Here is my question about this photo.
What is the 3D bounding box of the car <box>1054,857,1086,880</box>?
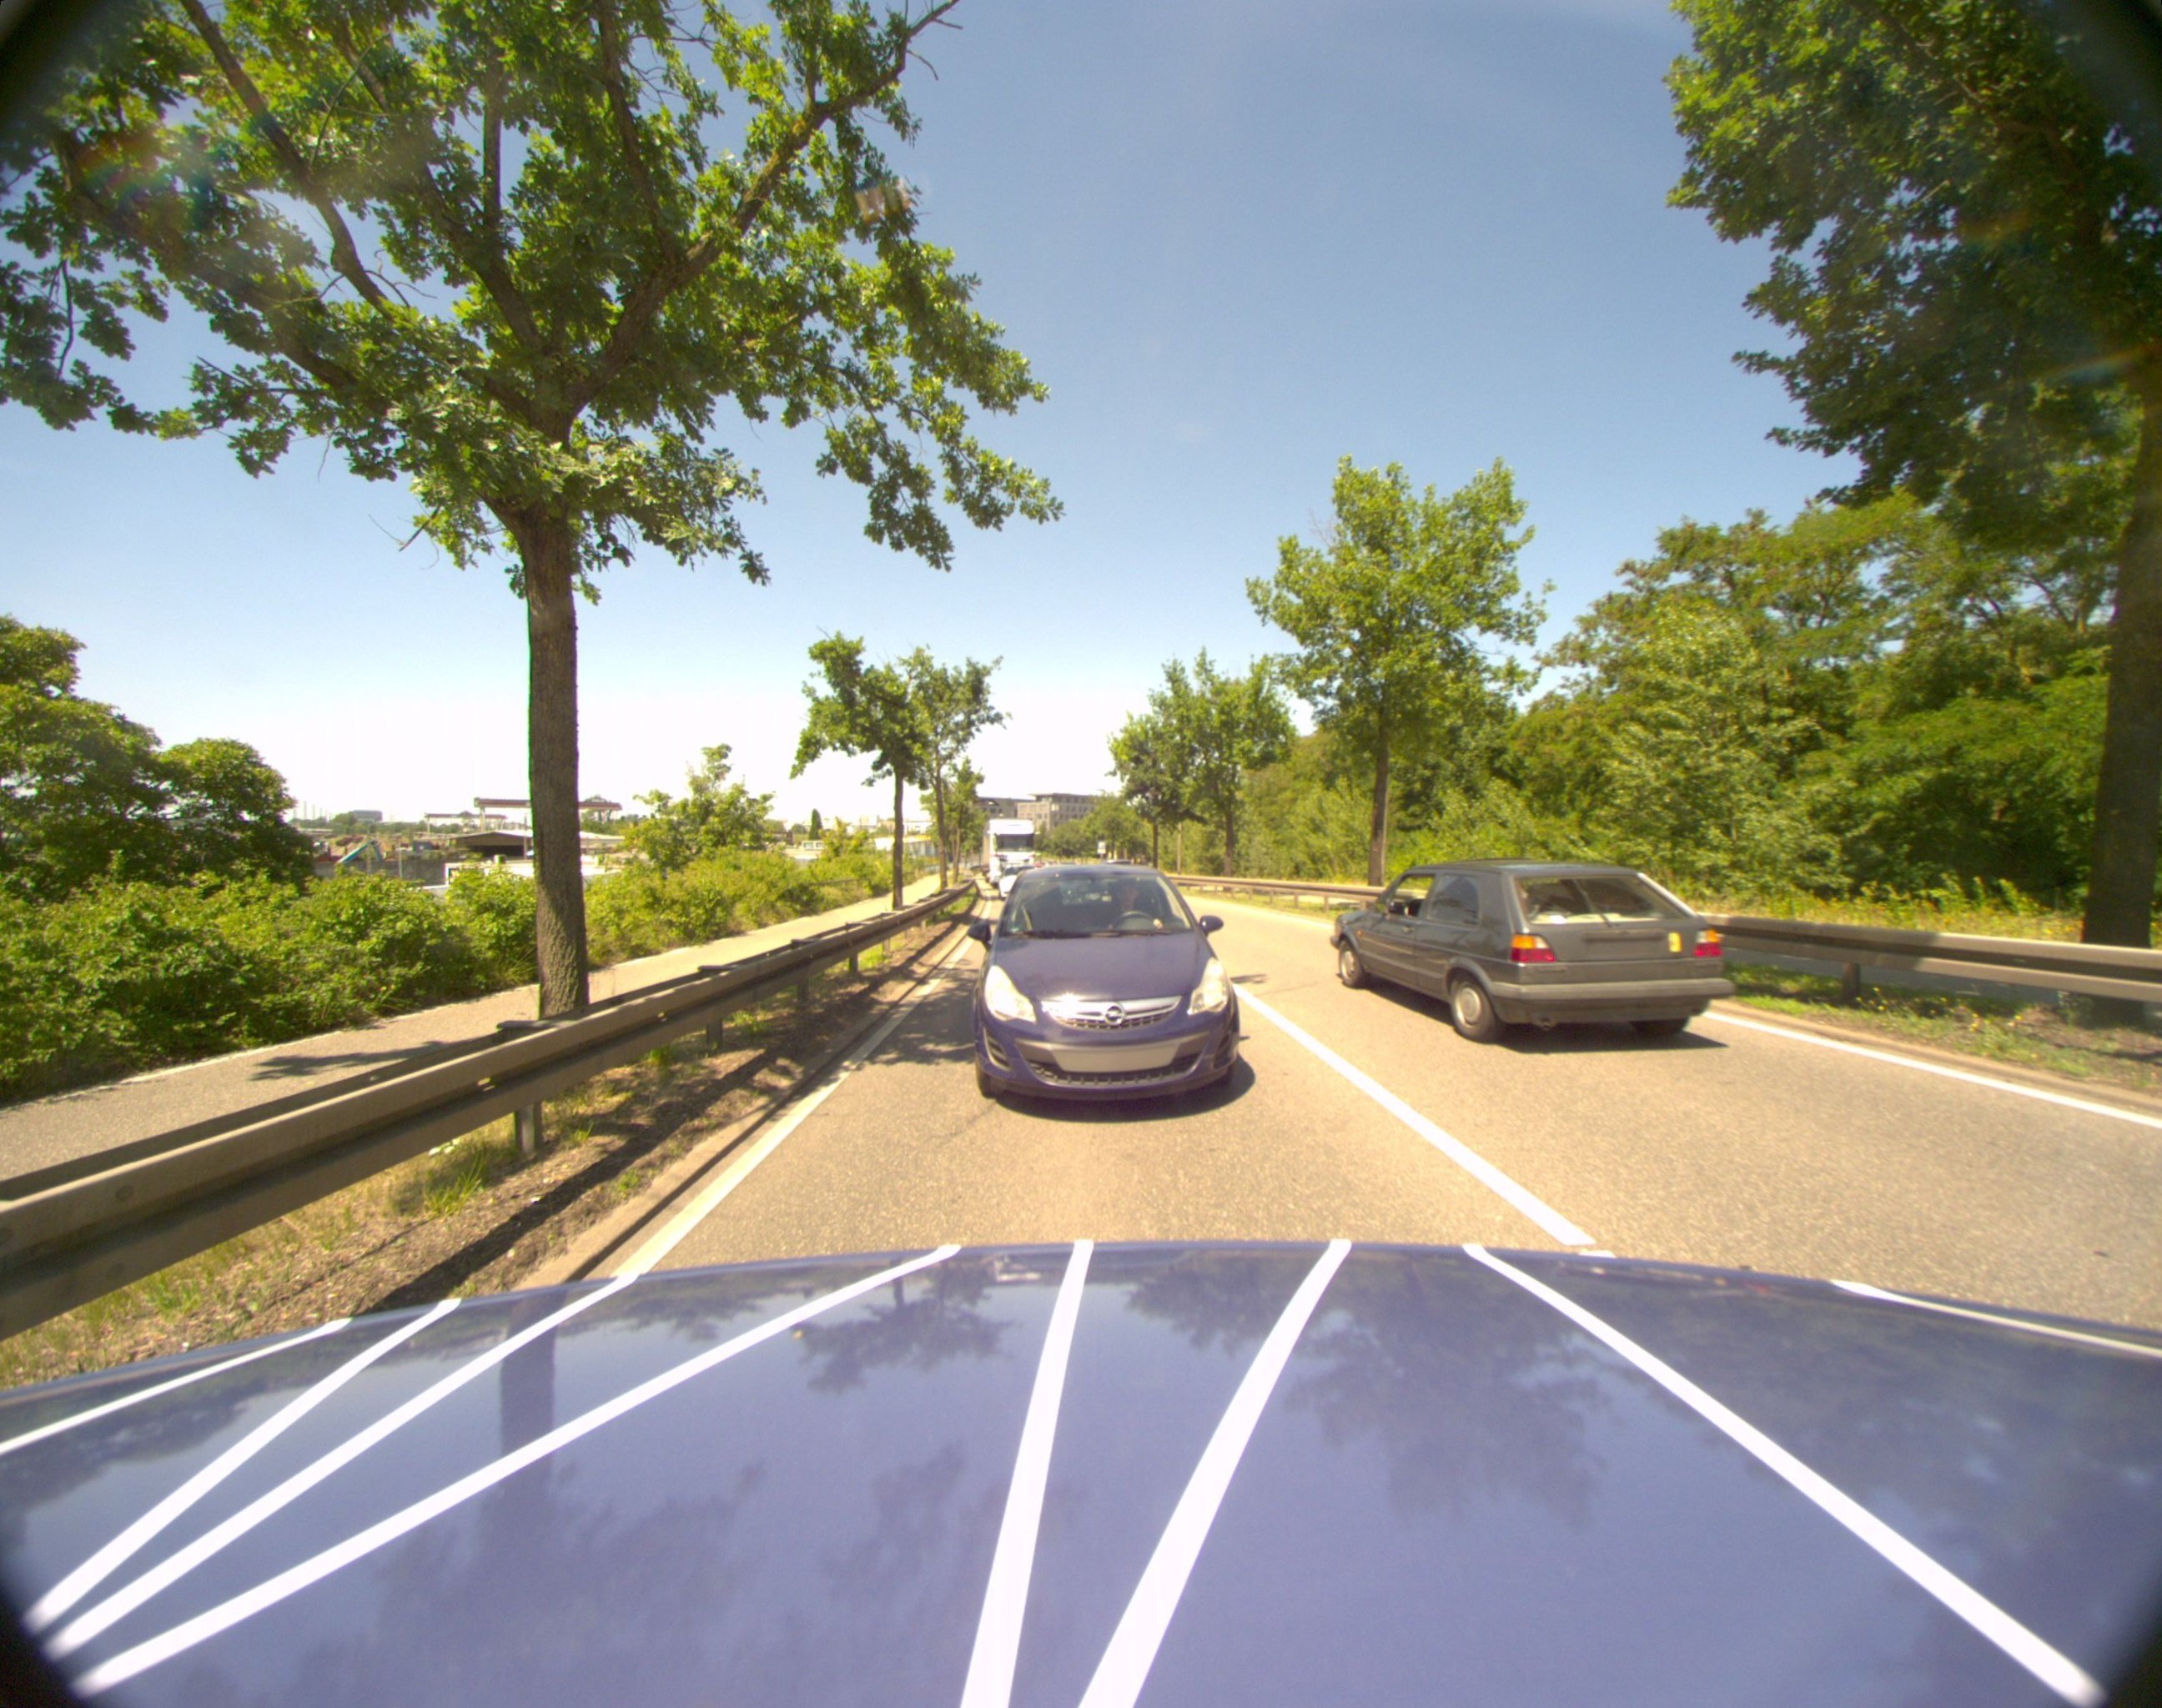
[{"bbox_3d":[-0.905,1.115,58.921,1.875,1.594,4.390,-2,0,-8],"label":"car"}]

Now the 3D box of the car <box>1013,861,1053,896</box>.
[{"bbox_3d":[-2.490,1.207,38.776,1.781,1.569,3.997,-2,0,-7],"label":"car"}]

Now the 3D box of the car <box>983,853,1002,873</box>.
[{"bbox_3d":[-9.125,0.907,78.262,1.781,2.002,3.997,-2,0,-8],"label":"car"}]

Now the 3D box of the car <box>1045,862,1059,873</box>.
[{"bbox_3d":[-5.674,2.682,149.280,1.779,2.002,4.002,-2,0,9],"label":"car"}]

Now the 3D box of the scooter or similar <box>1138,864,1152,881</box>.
[{"bbox_3d":[4.444,1.285,52.678,0.779,1.085,1.094,-2,1,-5],"label":"scooter or similar"}]

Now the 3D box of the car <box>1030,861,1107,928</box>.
[{"bbox_3d":[-0.427,0.976,20.093,1.781,1.498,3.894,-2,0,-4],"label":"car"}]

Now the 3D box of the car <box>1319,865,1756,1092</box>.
[{"bbox_3d":[3.633,0.849,6.960,1.560,1.364,3.888,-2,0,-2],"label":"car"}]

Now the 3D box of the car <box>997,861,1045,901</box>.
[{"bbox_3d":[-2.378,1.047,30.669,1.781,1.398,3.998,-2,0,-3],"label":"car"}]

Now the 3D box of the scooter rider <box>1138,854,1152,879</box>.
[{"bbox_3d":[4.414,0.861,52.671,0.779,1.648,1.120,-2,1,-4],"label":"scooter rider"}]

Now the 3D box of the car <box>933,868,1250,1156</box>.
[{"bbox_3d":[0.026,0.913,6.151,1.720,1.455,3.837,-2,0,-1],"label":"car"}]

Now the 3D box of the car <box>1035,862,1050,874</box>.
[{"bbox_3d":[-7.058,2.618,139.526,1.779,2.002,4.002,-2,0,9],"label":"car"}]

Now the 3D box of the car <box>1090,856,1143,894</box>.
[{"bbox_3d":[1.556,0.922,34.741,1.755,1.546,4.124,-2,0,-6],"label":"car"}]

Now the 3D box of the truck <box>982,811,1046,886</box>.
[{"bbox_3d":[-4.883,-0.337,51.486,3.073,4.146,16.897,-2,0,-9],"label":"truck"}]
